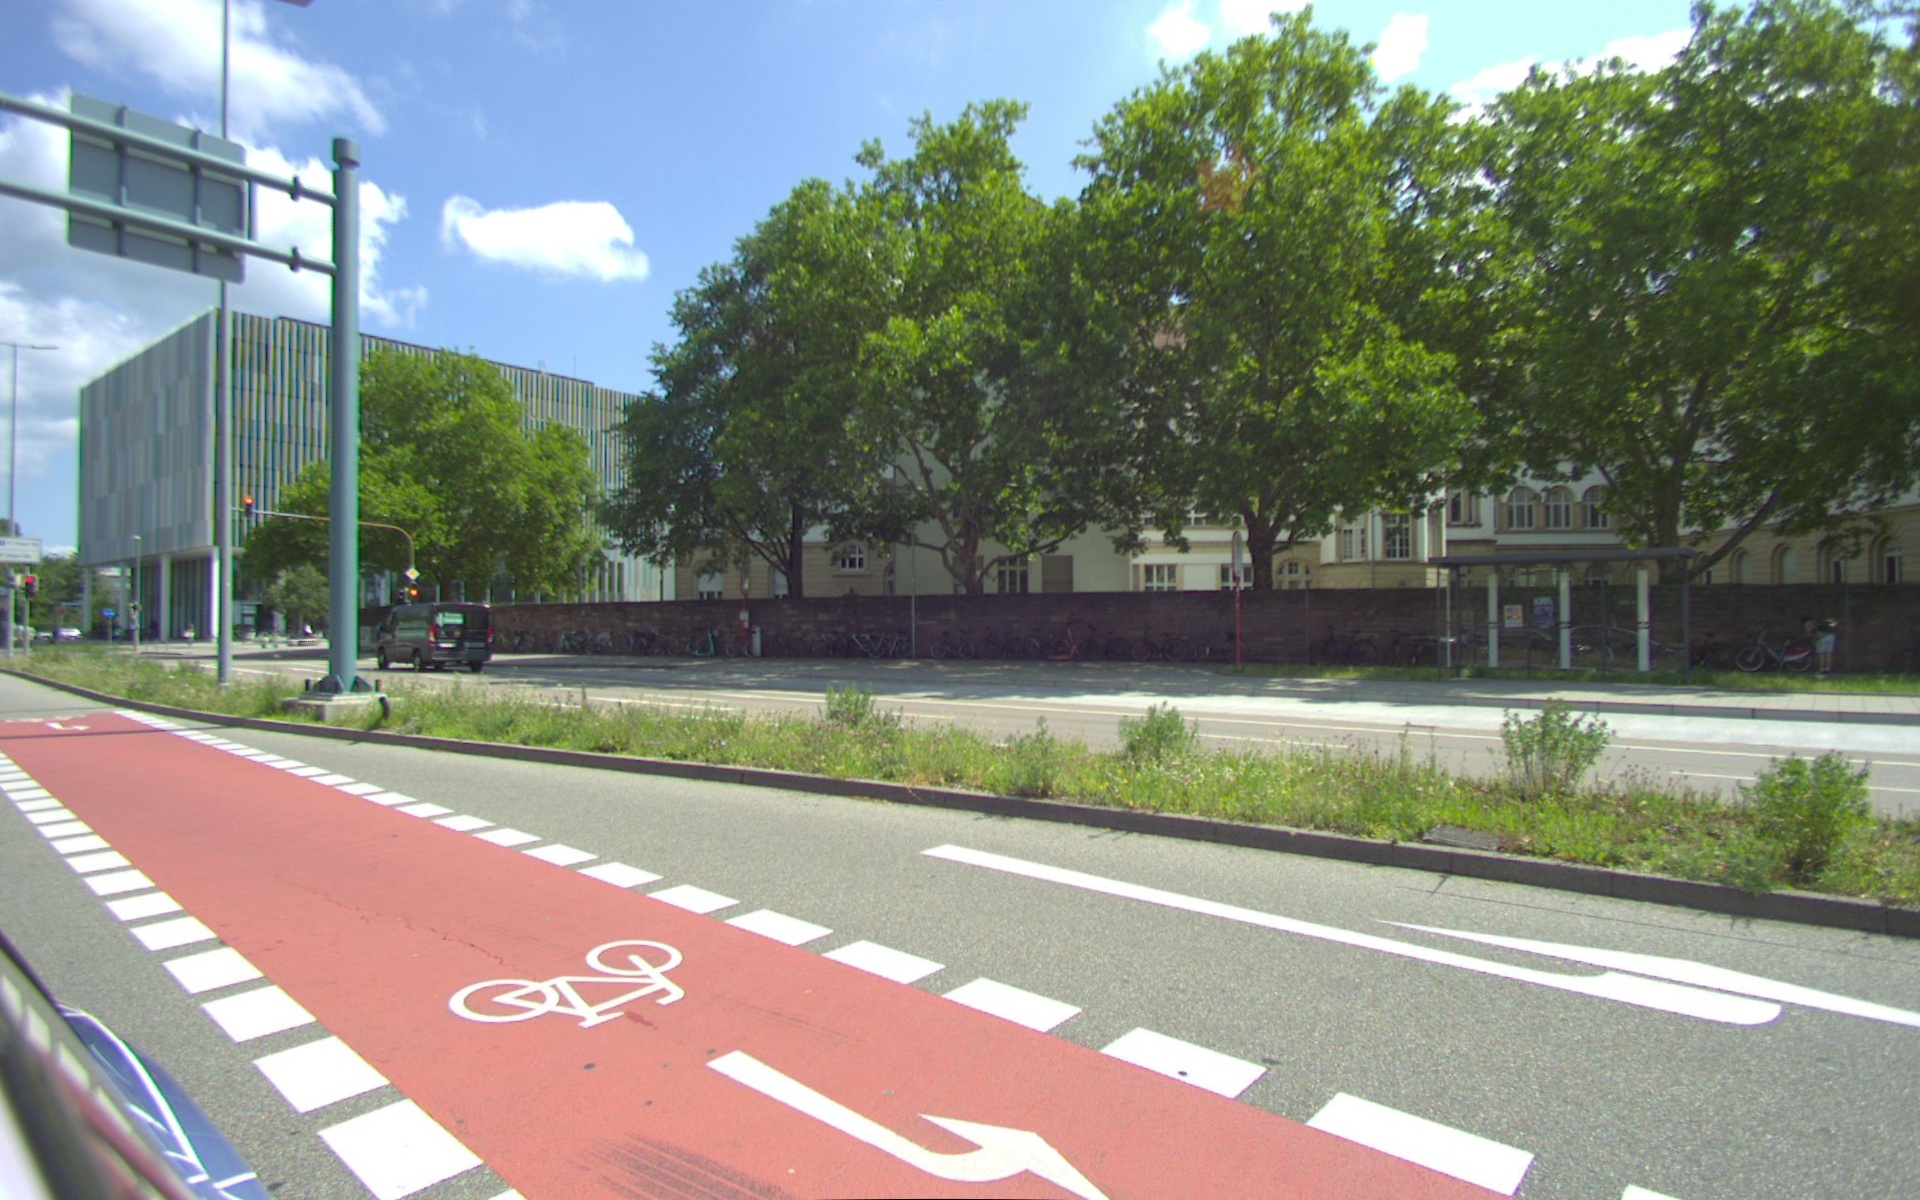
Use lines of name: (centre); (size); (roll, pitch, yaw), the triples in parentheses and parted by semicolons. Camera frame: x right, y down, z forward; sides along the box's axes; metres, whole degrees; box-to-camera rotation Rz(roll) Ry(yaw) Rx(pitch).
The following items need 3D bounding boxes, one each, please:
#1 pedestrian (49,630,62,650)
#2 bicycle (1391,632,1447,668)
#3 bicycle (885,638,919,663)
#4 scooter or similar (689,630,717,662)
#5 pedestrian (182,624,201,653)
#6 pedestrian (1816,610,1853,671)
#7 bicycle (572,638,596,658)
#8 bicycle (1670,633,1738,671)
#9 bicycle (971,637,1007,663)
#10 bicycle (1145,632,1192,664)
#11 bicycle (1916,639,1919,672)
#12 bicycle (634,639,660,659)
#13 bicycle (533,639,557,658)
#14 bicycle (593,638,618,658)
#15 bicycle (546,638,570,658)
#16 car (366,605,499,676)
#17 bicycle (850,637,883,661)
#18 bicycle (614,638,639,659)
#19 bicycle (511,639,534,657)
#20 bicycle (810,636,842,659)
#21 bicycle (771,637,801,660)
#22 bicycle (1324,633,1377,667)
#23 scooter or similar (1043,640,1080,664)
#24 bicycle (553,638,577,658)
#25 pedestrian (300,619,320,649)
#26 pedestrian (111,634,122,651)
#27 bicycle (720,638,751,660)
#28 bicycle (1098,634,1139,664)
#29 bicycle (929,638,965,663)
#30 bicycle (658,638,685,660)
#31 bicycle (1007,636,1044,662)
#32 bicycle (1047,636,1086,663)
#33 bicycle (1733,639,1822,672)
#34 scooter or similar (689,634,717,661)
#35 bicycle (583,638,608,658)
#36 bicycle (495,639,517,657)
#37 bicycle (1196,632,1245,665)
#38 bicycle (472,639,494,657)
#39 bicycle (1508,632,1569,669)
pedestrian: (-80.867, 3.569, 90.458); (0.705, 1.704, 0.783); (-2, -2, 42)
bicycle: (12.870, 1.402, 28.417); (1.384, 0.972, 0.263); (-1, -2, 18)
bicycle: (-2.009, 1.749, 35.115); (1.231, 0.837, 0.262); (-1, -2, 30)
scooter or similar: (-9.860, 1.755, 38.820); (1.230, 1.199, 0.262); (-1, -2, 29)
pedestrian: (-55.529, 2.790, 73.116); (0.994, 2.029, 0.853); (-2, -2, 39)
pedestrian: (21.474, 0.987, 24.864); (0.633, 1.484, 0.504); (-2, -2, 39)
bicycle: (-16.260, 2.081, 43.724); (1.231, 0.837, 0.262); (-2, -2, 30)
bicycle: (19.238, 1.343, 26.192); (1.384, 0.972, 0.263); (-1, -2, 18)
bicycle: (0.966, 1.665, 33.716); (1.230, 0.837, 0.262); (-1, -2, 28)
bicycle: (6.384, 1.474, 31.042); (1.385, 0.972, 0.263); (-1, -2, 20)
bicycle: (24.446, 1.354, 24.600); (1.734, 0.823, 0.382); (-1, -2, 18)
bicycle: (-12.851, 2.009, 41.556); (1.231, 0.837, 0.262); (-2, -2, 30)
bicycle: (-18.588, 2.161, 45.308); (1.230, 0.837, 0.262); (-1, -2, 29)
bicycle: (-15.009, 2.016, 42.897); (1.231, 0.837, 0.262); (-2, -2, 30)
bicycle: (-17.475, 2.093, 43.964); (1.230, 0.837, 0.262); (-1, -2, 29)
car: (-17.540, 1.352, 33.565); (5.014, 2.192, 2.126); (-2, -4, 40)
bicycle: (-3.310, 1.752, 35.919); (1.231, 0.837, 0.262); (-1, -2, 30)
bicycle: (-13.917, 2.026, 42.235); (1.231, 0.837, 0.262); (-2, -2, 30)
bicycle: (-19.965, 2.185, 46.196); (1.230, 0.837, 0.262); (-1, -2, 29)
bicycle: (-4.884, 1.732, 36.856); (1.231, 0.837, 0.262); (-1, -2, 30)
bicycle: (-6.464, 1.808, 37.564); (1.231, 0.837, 0.262); (-1, -2, 30)
bicycle: (11.185, 1.424, 29.030); (1.384, 0.972, 0.263); (-1, -2, 18)
scooter or similar: (3.184, 1.626, 31.806); (1.133, 0.734, 0.264); (-1, -2, 18)
bicycle: (-17.399, 2.110, 44.558); (1.230, 0.837, 0.262); (-1, -2, 29)
pedestrian: (-45.072, 2.339, 70.177); (0.864, 2.029, 0.981); (-2, -2, 41)
pedestrian: (-72.734, 3.642, 87.280); (0.686, 1.464, 0.690); (1, -2, -42)
bicycle: (-8.640, 1.884, 38.948); (1.226, 0.837, 0.263); (-1, -2, 19)
bicycle: (4.951, 1.520, 31.593); (1.230, 0.915, 0.262); (-1, -2, 28)
bicycle: (-0.441, 1.696, 34.243); (1.230, 0.837, 0.262); (-1, -2, 28)
bicycle: (-11.561, 1.965, 40.579); (1.231, 0.837, 0.262); (-2, -2, 30)
bicycle: (2.138, 1.608, 33.067); (1.230, 0.837, 0.262); (-1, -2, 28)
bicycle: (3.415, 1.591, 32.455); (1.230, 0.837, 0.262); (-1, -2, 28)
bicycle: (20.750, 1.402, 25.719); (1.734, 0.823, 0.327); (-1, -2, 18)
scooter or similar: (-10.138, 1.867, 39.917); (1.133, 1.028, 0.264); (-1, -2, 19)
bicycle: (-15.324, 2.002, 42.555); (1.230, 0.837, 0.262); (-1, -2, 29)
bicycle: (-21.060, 2.242, 46.975); (1.231, 0.837, 0.262); (-2, -2, 30)
bicycle: (7.812, 1.467, 30.414); (1.389, 0.972, 0.262); (-1, -2, 28)
bicycle: (-22.566, 2.257, 47.888); (1.231, 0.837, 0.262); (-2, -2, 30)
bicycle: (15.636, 1.366, 27.386); (1.384, 0.972, 0.263); (-1, -2, 18)
